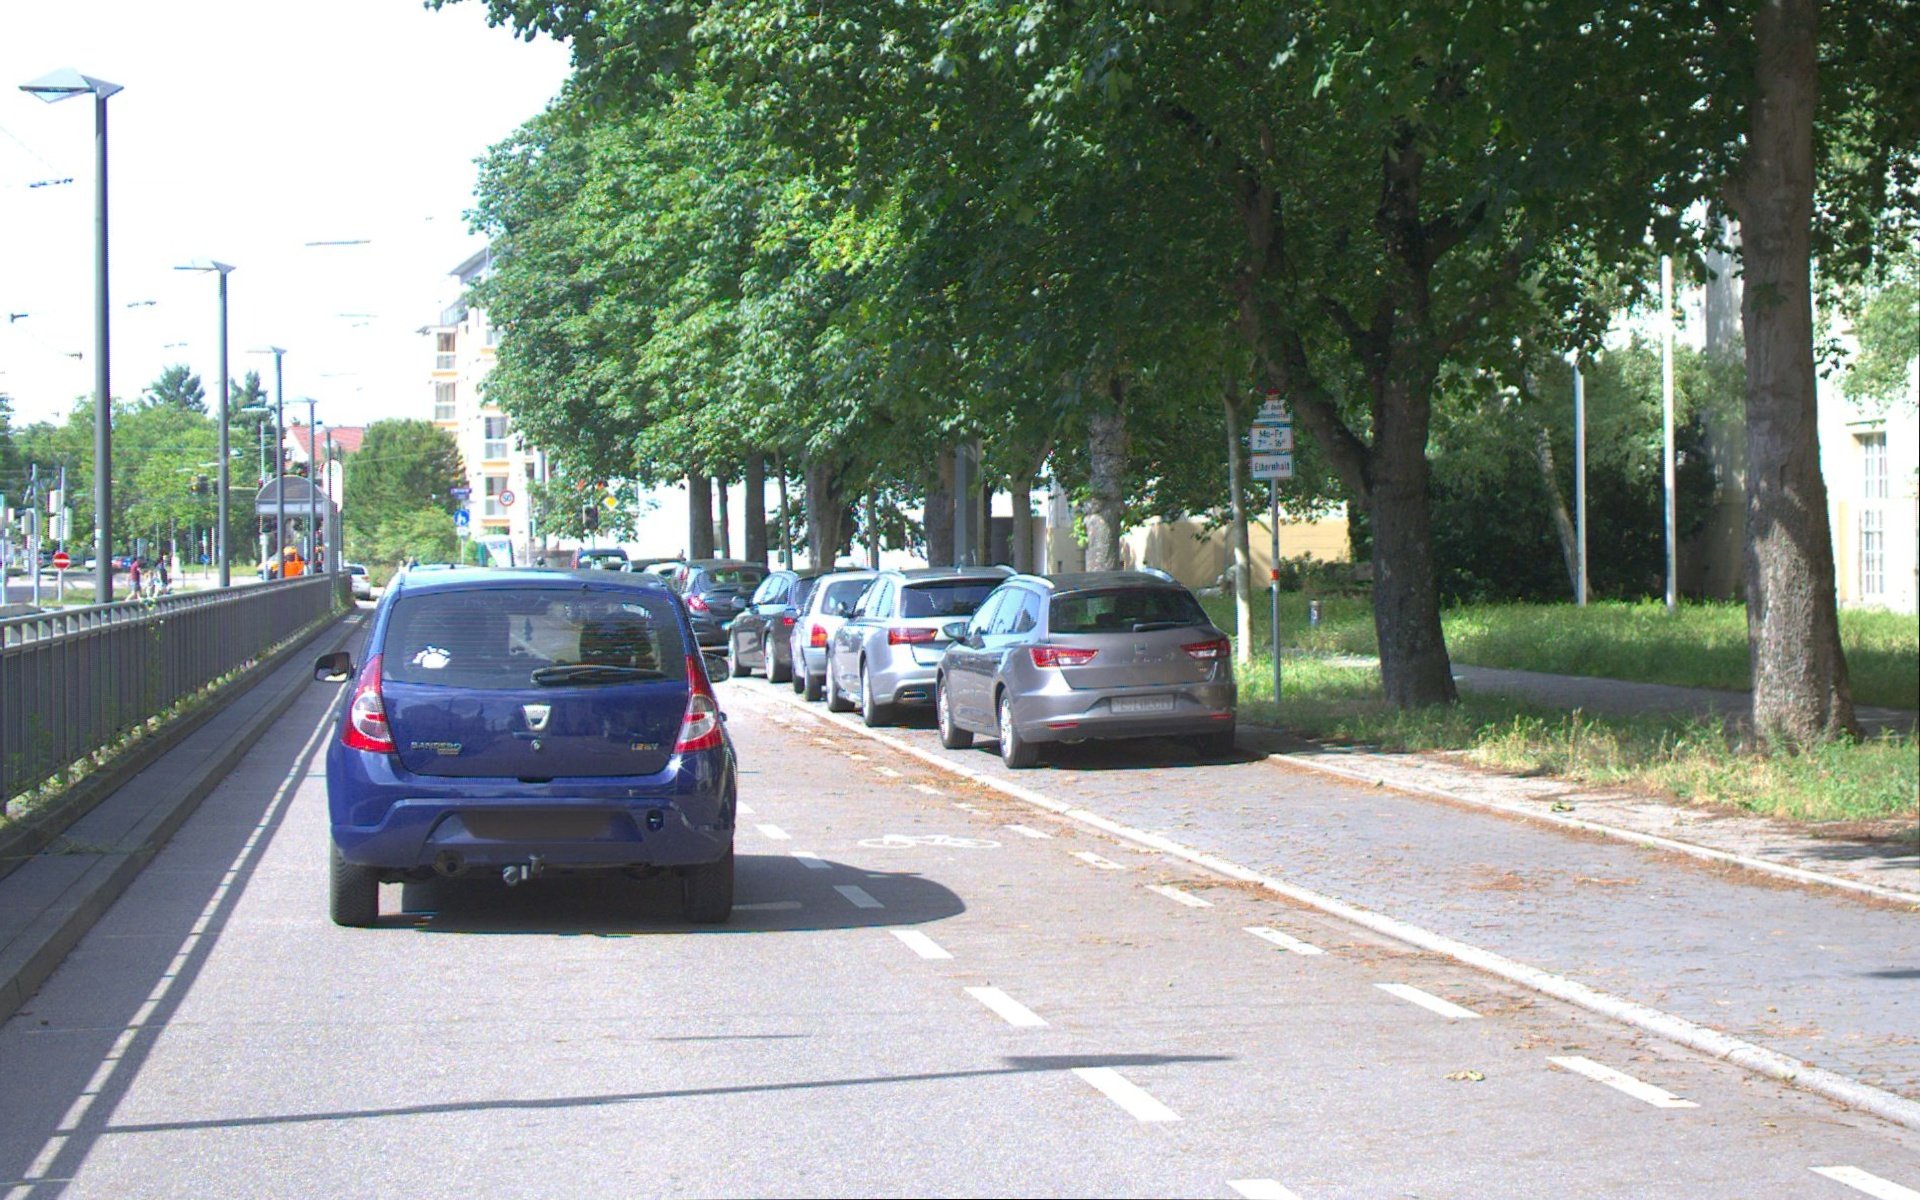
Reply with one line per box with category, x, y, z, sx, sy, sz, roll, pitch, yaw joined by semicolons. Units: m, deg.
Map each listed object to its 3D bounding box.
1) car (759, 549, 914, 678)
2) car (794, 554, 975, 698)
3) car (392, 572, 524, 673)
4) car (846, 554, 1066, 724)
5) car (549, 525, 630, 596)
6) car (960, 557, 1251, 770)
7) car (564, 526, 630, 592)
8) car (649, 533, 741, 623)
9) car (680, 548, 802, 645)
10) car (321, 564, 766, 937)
car;-1.586;0.134;43.273;1.851;1.510;4.001;-1;1;-3
car;-0.900;0.247;38.531;1.861;1.440;4.001;-2;1;-3
car;-7.476;0.309;51.449;1.699;1.363;3.515;0;2;-4
car;-0.104;0.326;32.968;1.861;1.440;4.001;-2;1;-3
car;-9.490;-1.036;88.267;1.830;1.755;4.001;-1;1;-3
car;1.054;0.434;26.885;1.861;1.440;4.001;-2;1;-3
car;-9.928;-1.143;94.334;1.667;1.766;4.001;-1;1;-4
car;-5.415;-0.471;69.852;1.617;1.744;4.001;-1;1;-8
car;-3.513;-0.078;55.603;1.861;1.440;4.001;-2;1;-3
car;-1.888;0.583;15.679;1.767;1.457;3.776;0;1;-7
